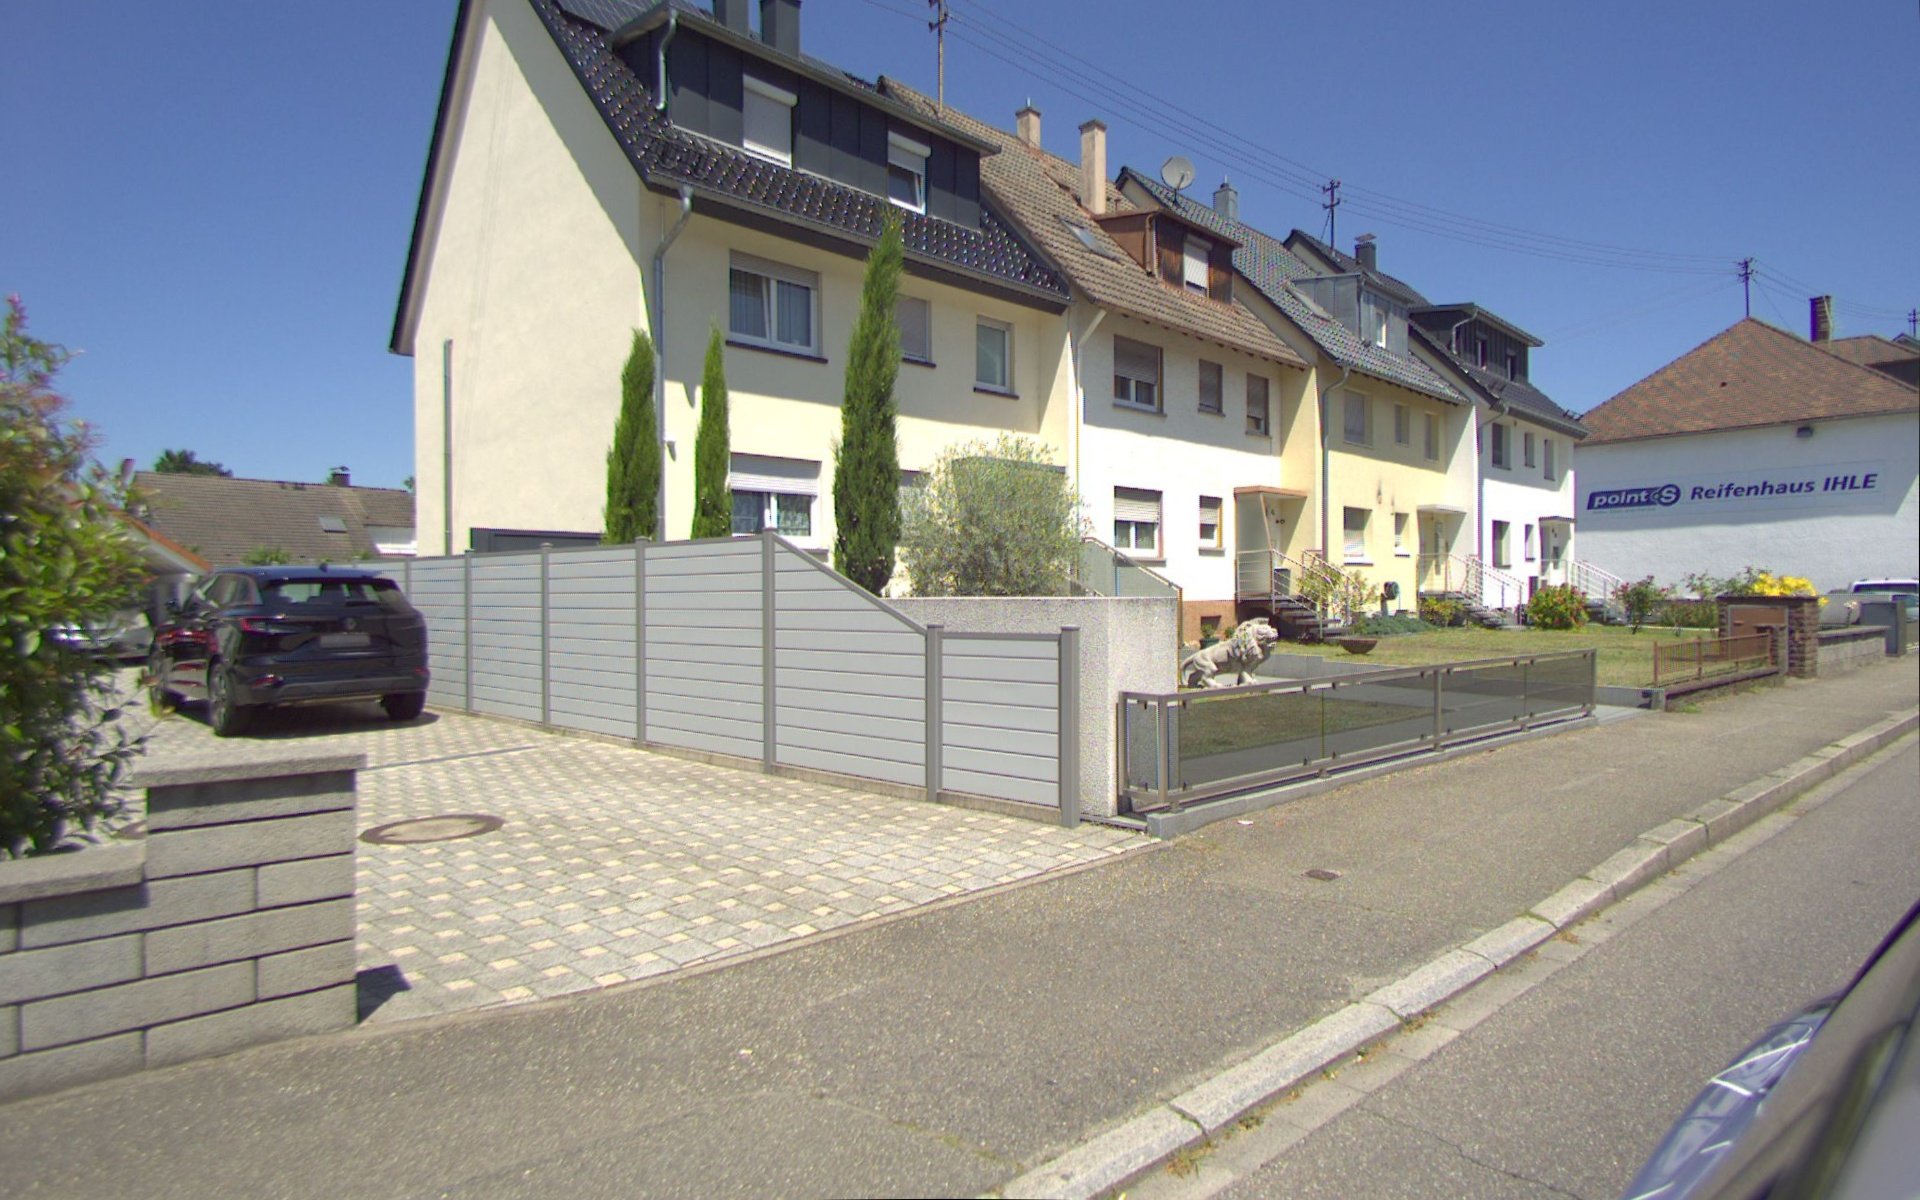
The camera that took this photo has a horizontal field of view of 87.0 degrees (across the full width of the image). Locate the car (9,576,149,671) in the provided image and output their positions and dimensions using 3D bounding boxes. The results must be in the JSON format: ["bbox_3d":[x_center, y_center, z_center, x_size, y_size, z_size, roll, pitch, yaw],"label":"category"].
[{"bbox_3d":[-15.401,0.327,17.630,3.613,1.484,1.467,1,2,43],"label":"car"}]

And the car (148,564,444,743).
[{"bbox_3d":[-7.294,0.436,10.971,3.985,1.588,1.773,1,1,42],"label":"car"}]

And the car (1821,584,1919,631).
[{"bbox_3d":[30.862,0.228,32.432,1.735,1.427,4.653,0,-2,-35],"label":"car"}]

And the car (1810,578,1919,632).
[{"bbox_3d":[28.574,0.132,30.659,1.721,1.567,4.307,-2,-1,-5],"label":"car"}]

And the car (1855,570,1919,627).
[{"bbox_3d":[32.930,-0.096,33.864,1.711,1.855,4.291,1,-3,-44],"label":"car"}]
